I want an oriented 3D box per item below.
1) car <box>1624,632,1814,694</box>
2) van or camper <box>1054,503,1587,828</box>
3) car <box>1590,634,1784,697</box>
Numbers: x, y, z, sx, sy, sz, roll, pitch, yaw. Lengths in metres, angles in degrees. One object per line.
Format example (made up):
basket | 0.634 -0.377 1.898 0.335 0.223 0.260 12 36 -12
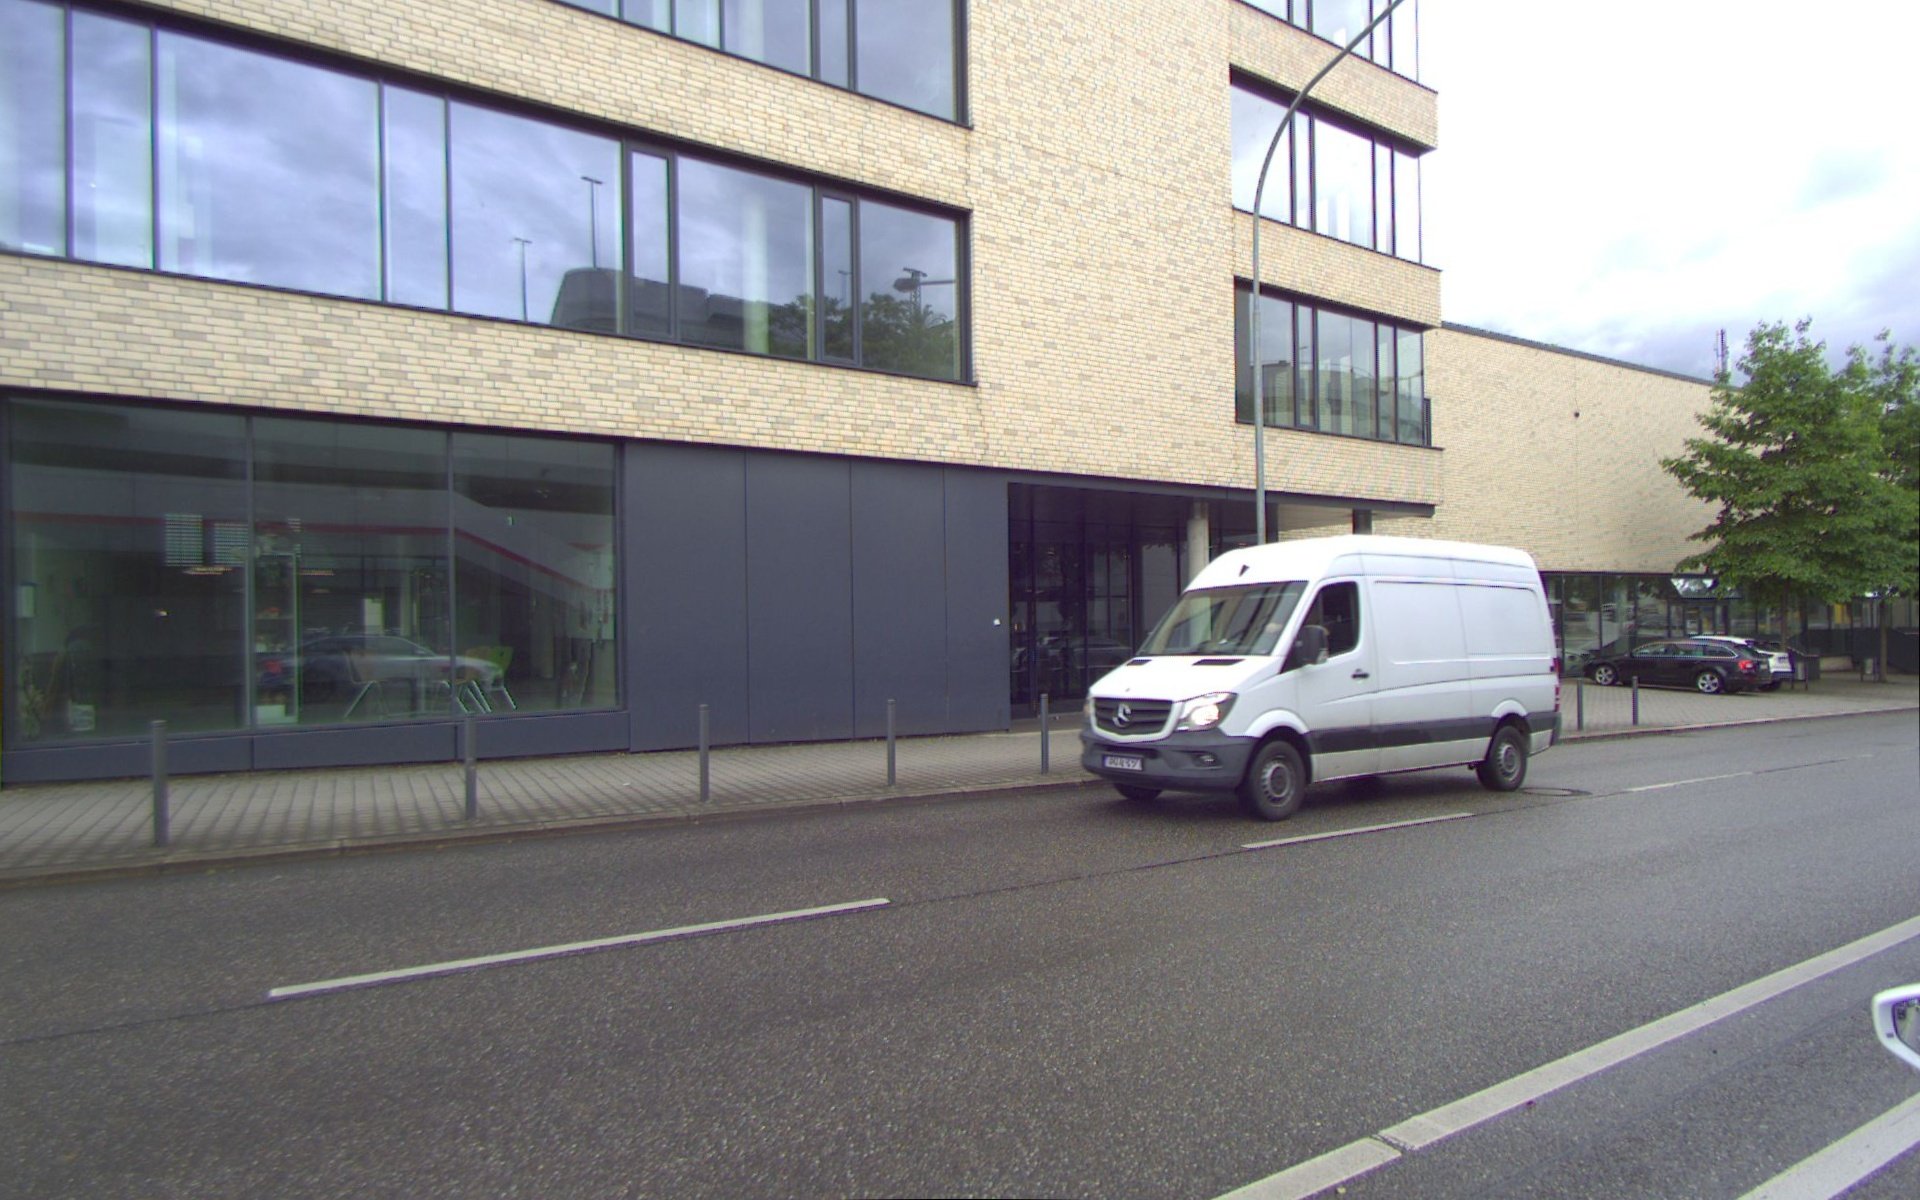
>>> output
car | 22.898 1.865 30.480 1.975 1.568 4.159 2 0 -28
van or camper | 3.946 0.650 10.552 5.842 2.616 2.091 2 -4 -32
car | 21.020 1.853 29.173 1.981 1.514 4.147 2 0 -36
